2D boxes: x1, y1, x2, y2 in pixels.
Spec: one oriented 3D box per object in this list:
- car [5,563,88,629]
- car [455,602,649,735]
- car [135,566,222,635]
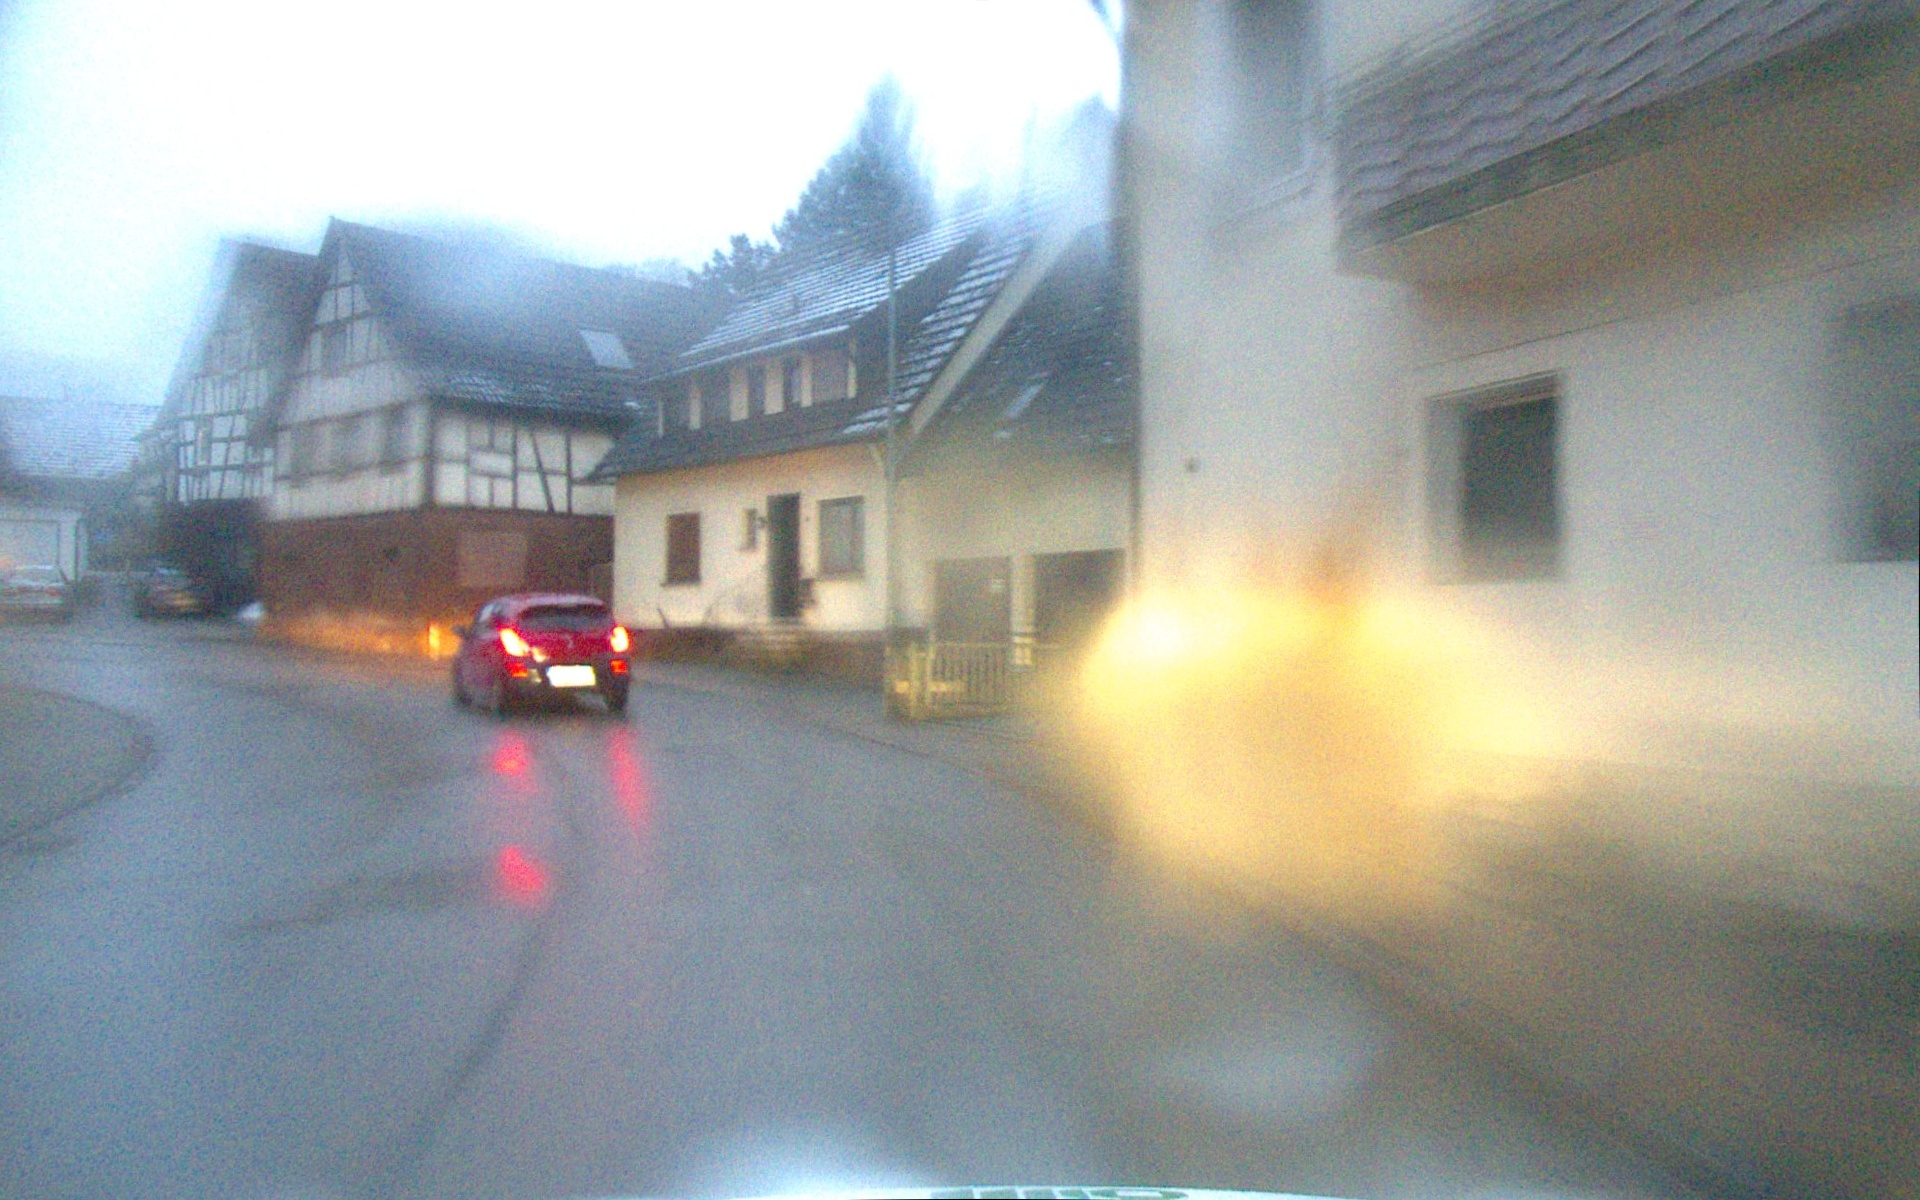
[{"bbox_3d":[-24.898,-0.142,45.176,1.788,1.444,4.005,-2,5,-27],"label":"car"},{"bbox_3d":[-5.212,0.798,20.826,1.528,1.491,3.665,2,-1,-28],"label":"car"},{"bbox_3d":[-21.451,-0.016,45.319,1.579,1.541,3.939,-2,6,-33],"label":"car"}]
